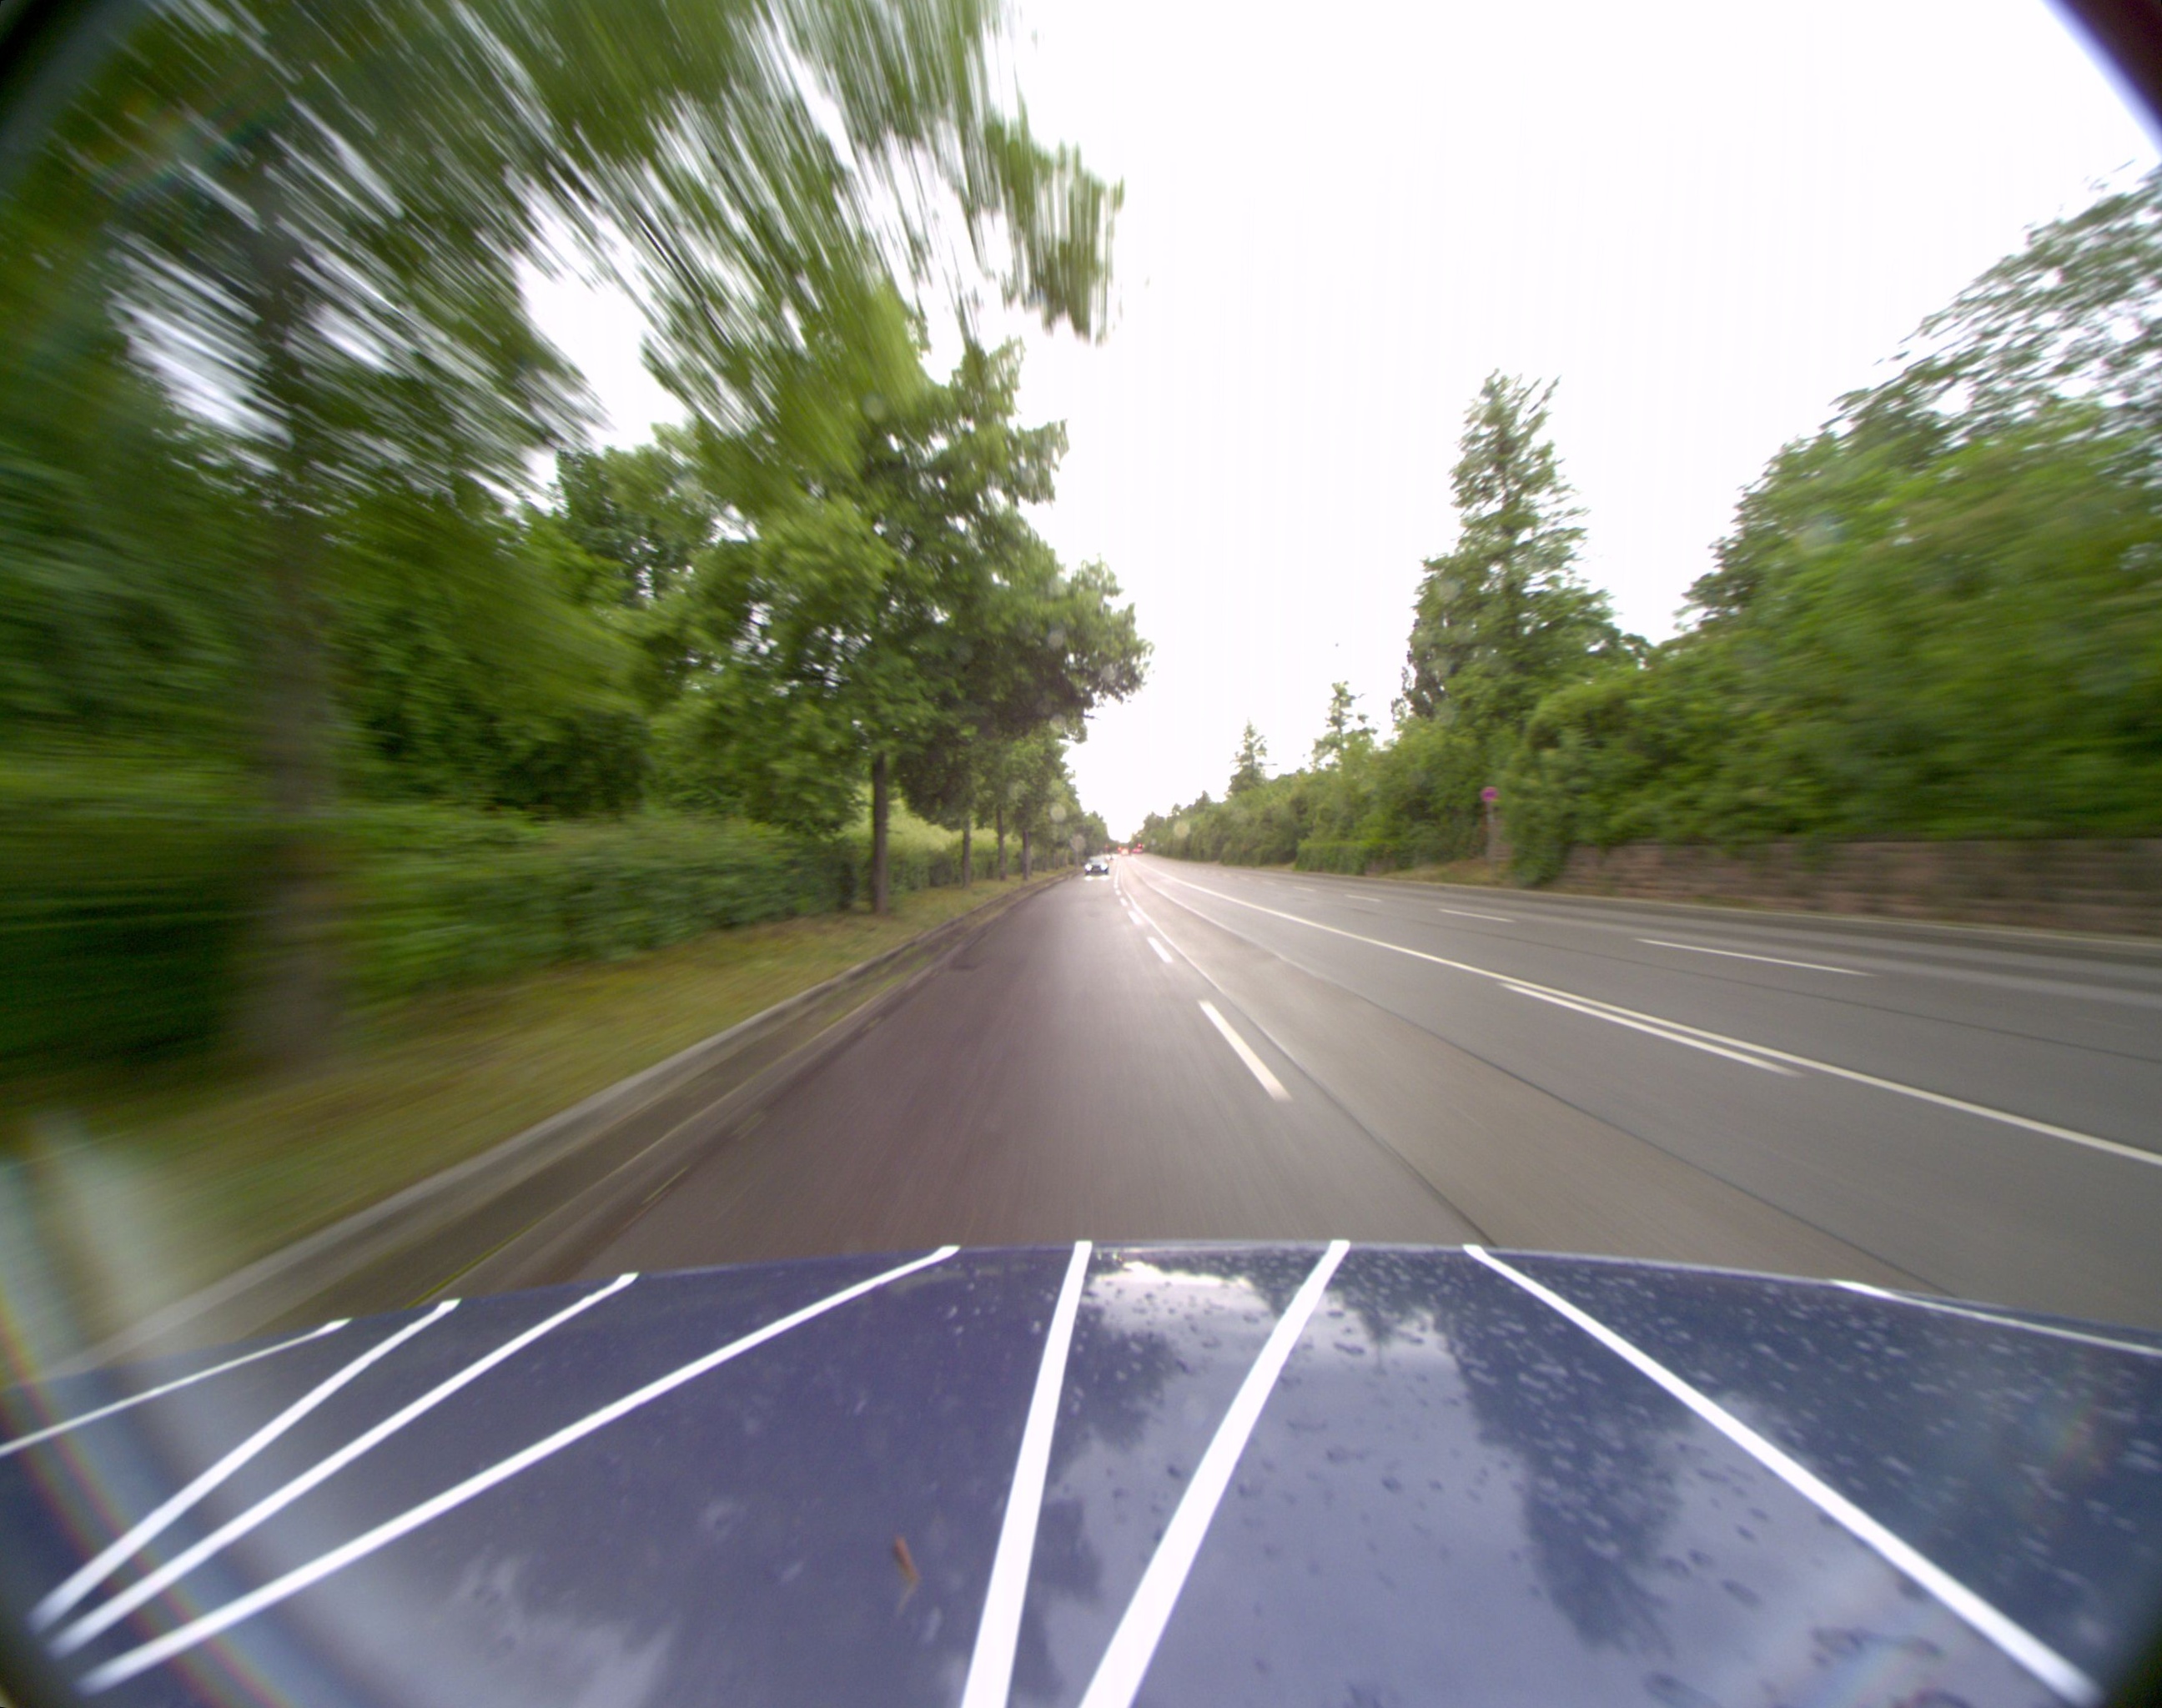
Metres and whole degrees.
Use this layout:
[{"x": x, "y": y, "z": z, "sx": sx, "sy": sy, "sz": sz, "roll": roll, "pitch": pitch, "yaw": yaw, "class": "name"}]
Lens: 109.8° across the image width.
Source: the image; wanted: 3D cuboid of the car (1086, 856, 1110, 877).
[{"x": 1.372, "y": 0.960, "z": 60.301, "sx": 1.824, "sy": 1.547, "sz": 4.000, "roll": -2, "pitch": 1, "yaw": 1, "class": "car"}]

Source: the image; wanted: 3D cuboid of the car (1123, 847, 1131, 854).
[{"x": 13.600, "y": -0.996, "z": 224.204, "sx": 1.930, "sy": 1.805, "sz": 4.000, "roll": -2, "pitch": 1, "yaw": 1, "class": "car"}]

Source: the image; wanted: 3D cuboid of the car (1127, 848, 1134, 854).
[{"x": 13.943, "y": -0.885, "z": 214.380, "sx": 1.930, "sy": 1.805, "sz": 4.000, "roll": -2, "pitch": 1, "yaw": 1, "class": "car"}]
